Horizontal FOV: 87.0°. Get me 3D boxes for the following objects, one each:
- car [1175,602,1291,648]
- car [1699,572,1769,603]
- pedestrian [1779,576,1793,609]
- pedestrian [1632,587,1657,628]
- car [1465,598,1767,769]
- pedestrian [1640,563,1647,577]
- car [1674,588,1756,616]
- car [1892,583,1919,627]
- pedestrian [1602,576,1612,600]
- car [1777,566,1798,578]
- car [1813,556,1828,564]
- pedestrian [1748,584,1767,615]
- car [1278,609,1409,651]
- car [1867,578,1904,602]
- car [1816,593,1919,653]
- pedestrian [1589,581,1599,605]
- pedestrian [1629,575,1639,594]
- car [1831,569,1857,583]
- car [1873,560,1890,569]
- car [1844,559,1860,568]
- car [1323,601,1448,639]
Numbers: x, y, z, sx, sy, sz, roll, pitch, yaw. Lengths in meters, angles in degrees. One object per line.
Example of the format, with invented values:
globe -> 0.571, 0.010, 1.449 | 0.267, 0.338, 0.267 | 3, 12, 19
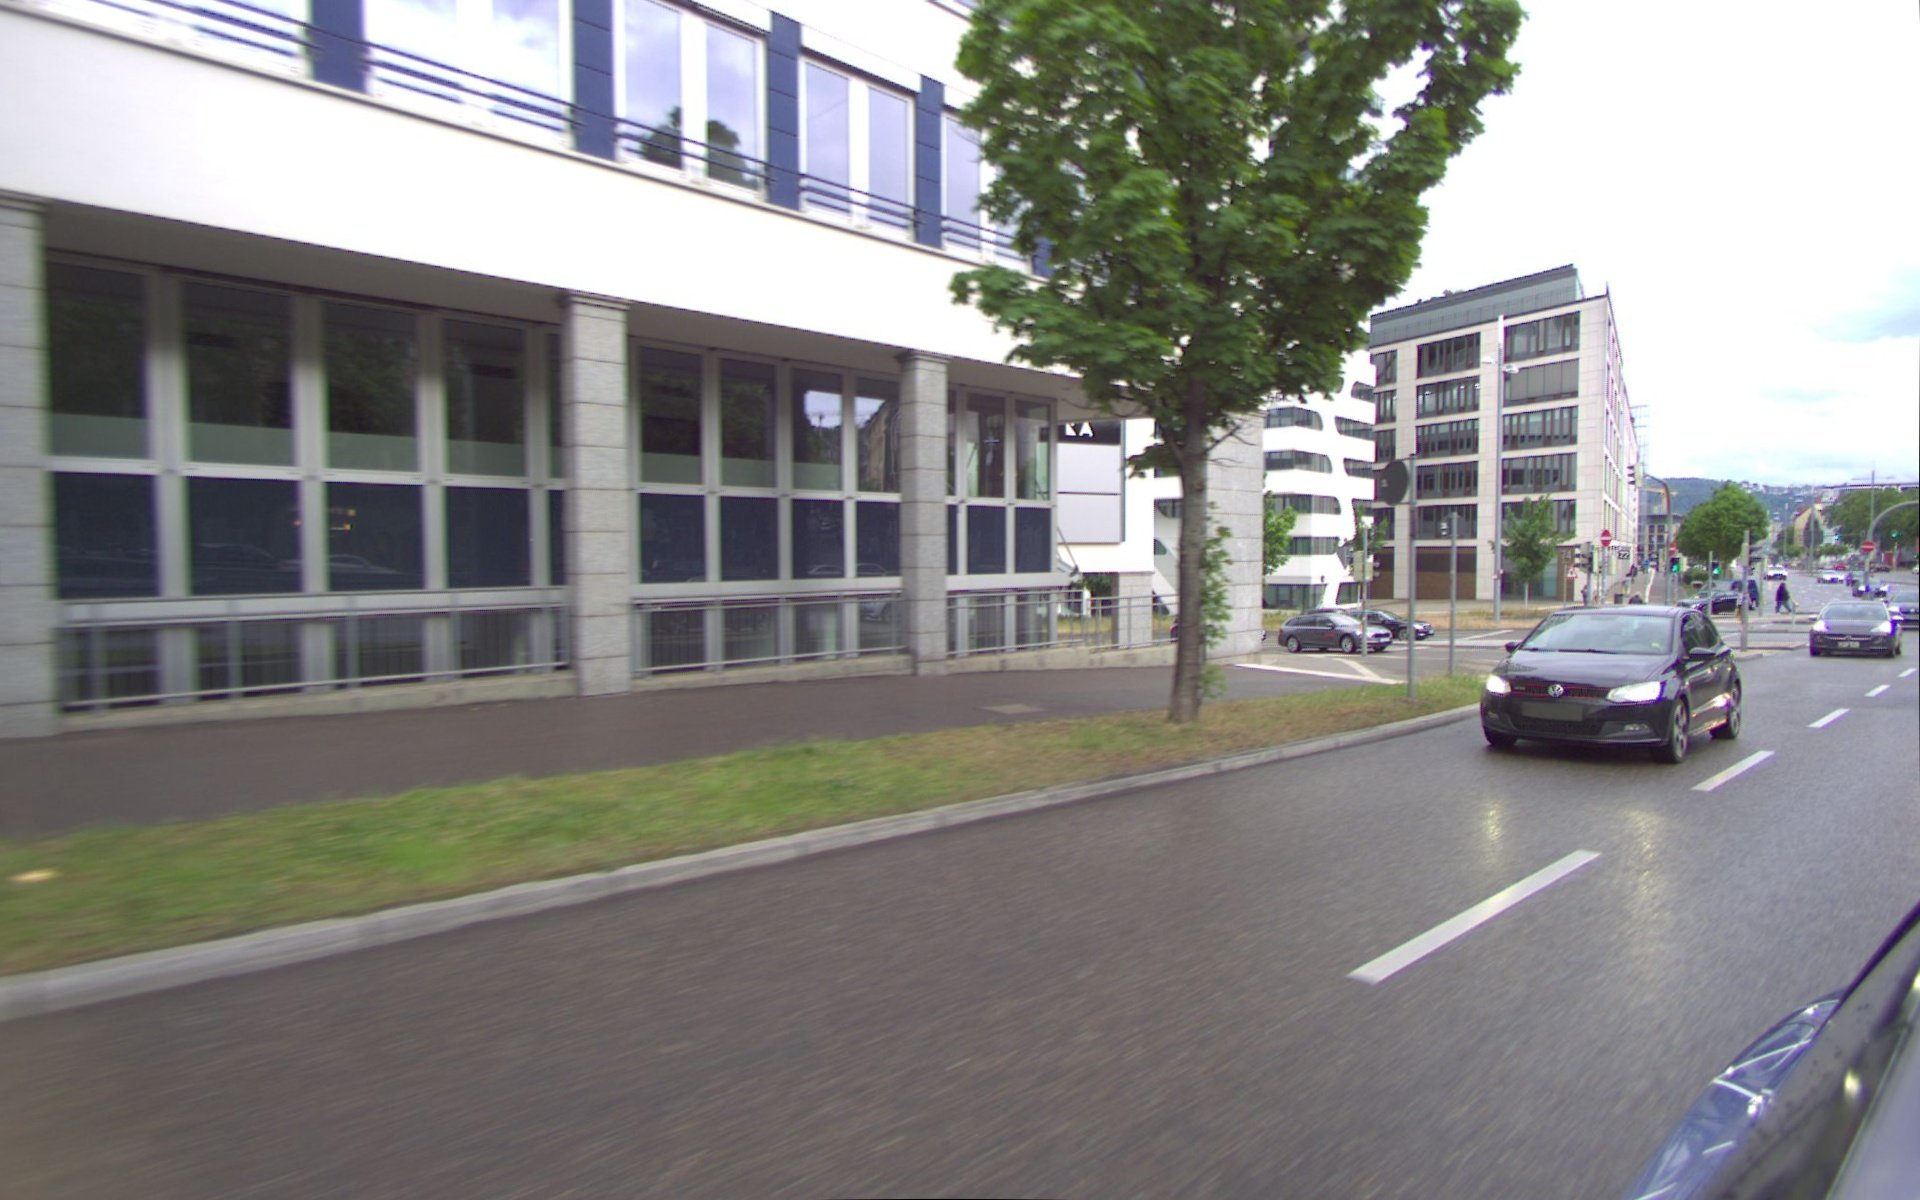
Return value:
car -> 11.621, 1.086, 43.356 | 1.825, 1.688, 4.480 | -7, 2, -38
car -> 49.005, -0.816, 64.070 | 4.204, 1.885, 1.803 | -1, 0, -26
pedestrian -> 45.319, -0.401, 55.533 | 0.601, 1.825, 0.579 | -1, 0, 40
pedestrian -> 28.416, 0.303, 42.036 | 0.633, 1.645, 0.707 | -1, 0, -41
car -> 6.897, 0.703, 10.503 | 3.782, 1.417, 1.676 | -1, 1, -41
pedestrian -> 75.004, -3.271, 111.046 | 0.584, 1.496, 0.597 | -1, 0, 35
car -> 43.693, 0.117, 58.604 | 3.916, 1.529, 1.804 | -1, 0, -17
car -> 38.885, 0.159, 40.565 | 3.930, 1.687, 1.797 | -1, 0, -41
pedestrian -> 44.038, -0.788, 68.864 | 0.583, 1.630, 0.597 | -1, 0, 34
car -> 104.718, -3.520, 128.097 | 1.788, 1.529, 3.950 | -1, 0, 35
car -> 168.400, -7.863, 198.099 | 1.788, 1.529, 3.950 | 0, 0, 35
pedestrian -> 39.255, -0.032, 49.808 | 0.582, 1.496, 0.599 | -1, 0, 27
car -> 14.125, 1.062, 37.549 | 1.819, 1.408, 4.492 | -1, 0, -26
car -> 75.264, -0.821, 82.300 | 1.789, 1.970, 3.947 | -1, 0, 37
car -> 24.322, 0.562, 26.973 | 3.642, 1.459, 1.749 | -1, 0, -41
pedestrian -> 43.559, -0.512, 69.510 | 0.583, 1.630, 0.597 | -1, 0, 34
pedestrian -> 52.783, -1.206, 79.281 | 0.582, 1.496, 0.599 | -1, 0, 27
car -> 101.357, -2.720, 116.063 | 1.788, 1.529, 3.950 | 0, 0, 35
car -> 167.565, -6.501, 183.998 | 1.788, 1.529, 3.950 | 0, 0, 35
car -> 170.748, -6.947, 193.710 | 1.788, 1.529, 3.950 | 0, 0, 35
car -> 17.902, 0.870, 42.737 | 1.827, 1.408, 4.472 | -3, 0, -44
